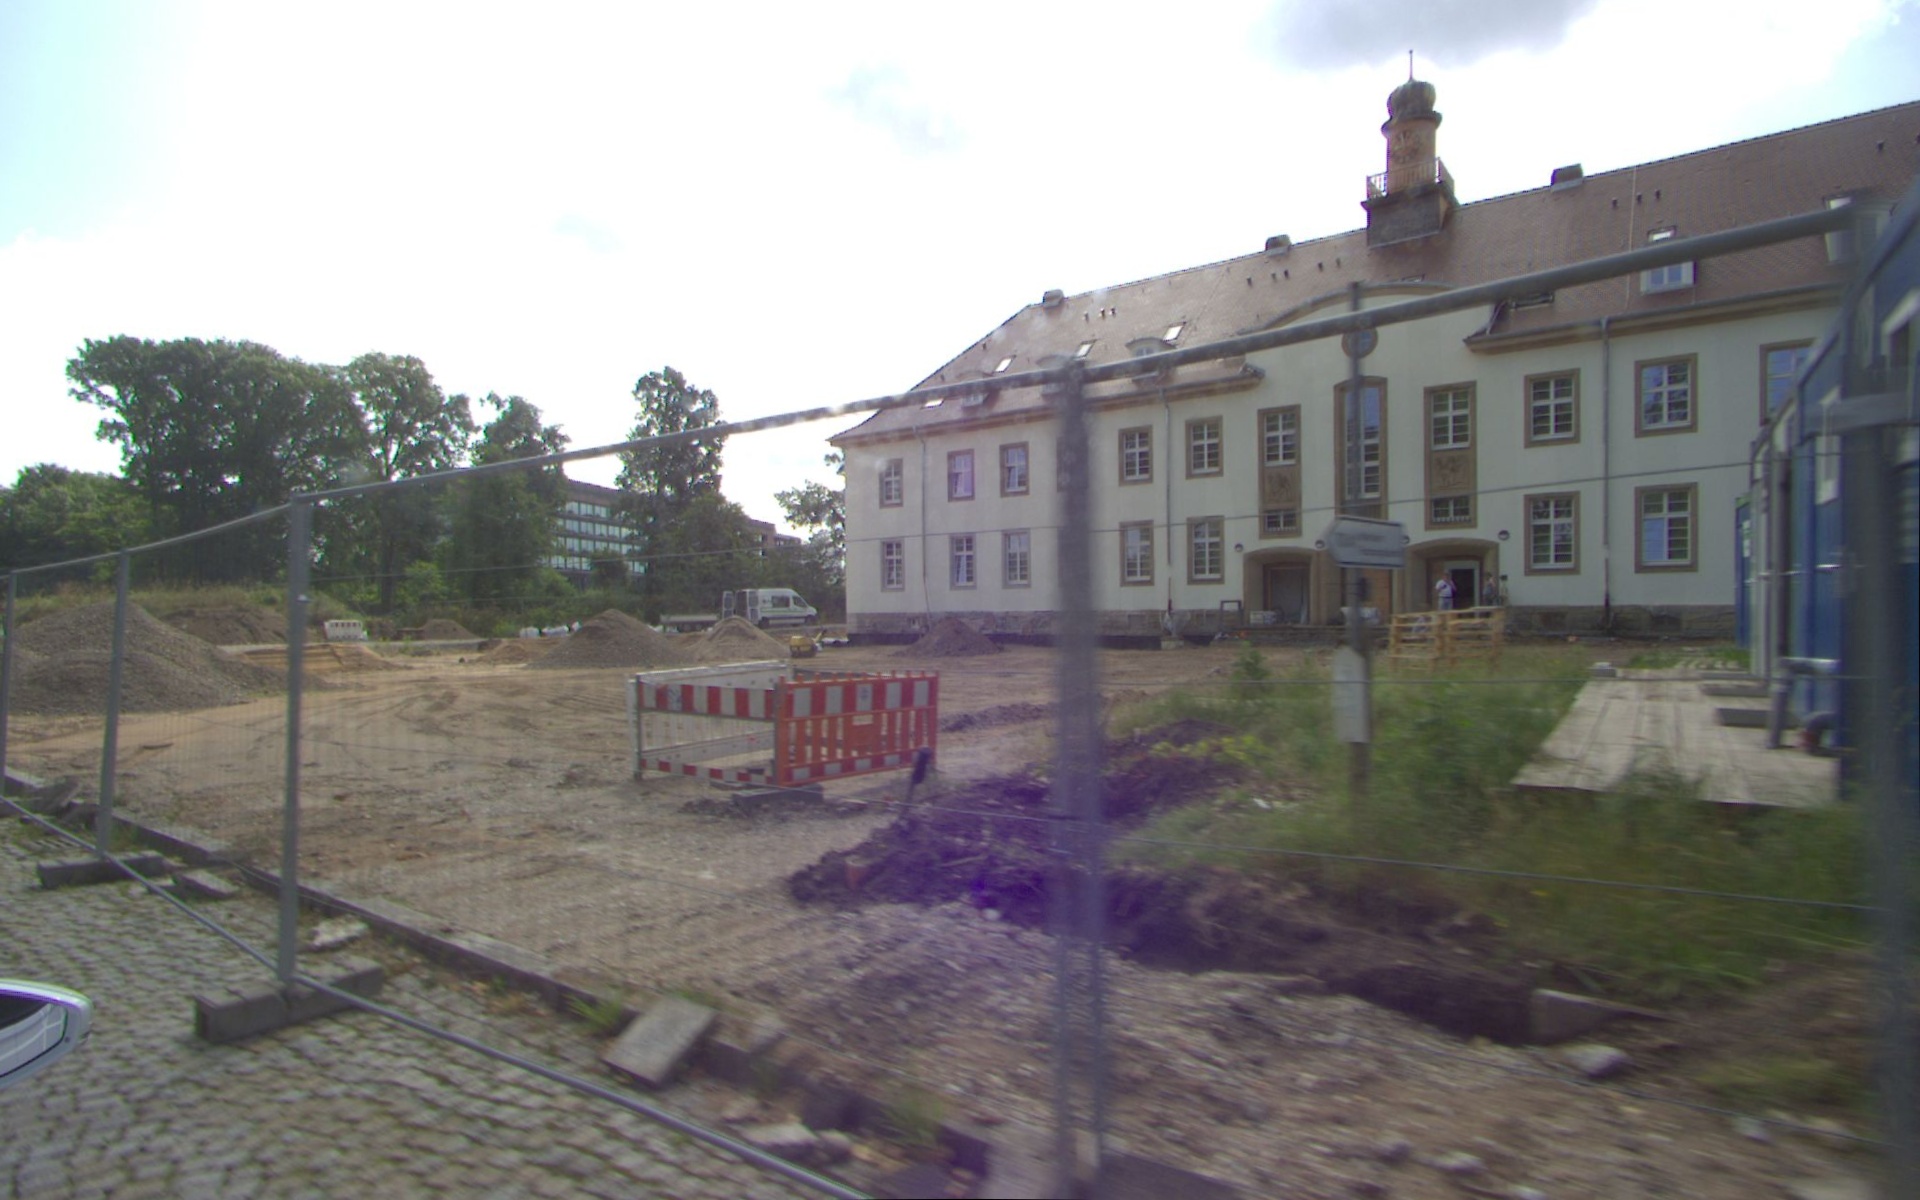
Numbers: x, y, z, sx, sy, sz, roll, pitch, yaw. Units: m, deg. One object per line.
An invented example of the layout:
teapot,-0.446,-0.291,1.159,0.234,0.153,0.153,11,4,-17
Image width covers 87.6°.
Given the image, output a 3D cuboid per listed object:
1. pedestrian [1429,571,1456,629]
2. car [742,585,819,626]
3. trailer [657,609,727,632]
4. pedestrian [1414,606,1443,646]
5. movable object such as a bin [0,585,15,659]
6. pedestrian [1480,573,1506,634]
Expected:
pedestrian,15.547,0.000,32.264,0.724,1.859,0.643,0,0,34
car,-12.005,0.378,67.176,4.766,2.677,2.038,0,0,-42
trailer,-16.999,1.271,63.452,3.941,1.372,2.078,0,0,-29
pedestrian,14.603,0.804,31.214,0.713,1.226,0.665,0,0,37
movable object such as a bin,-34.714,0.767,34.185,2.101,2.627,4.773,0,0,-24
pedestrian,16.598,0.112,31.171,0.638,1.859,0.873,0,0,33
